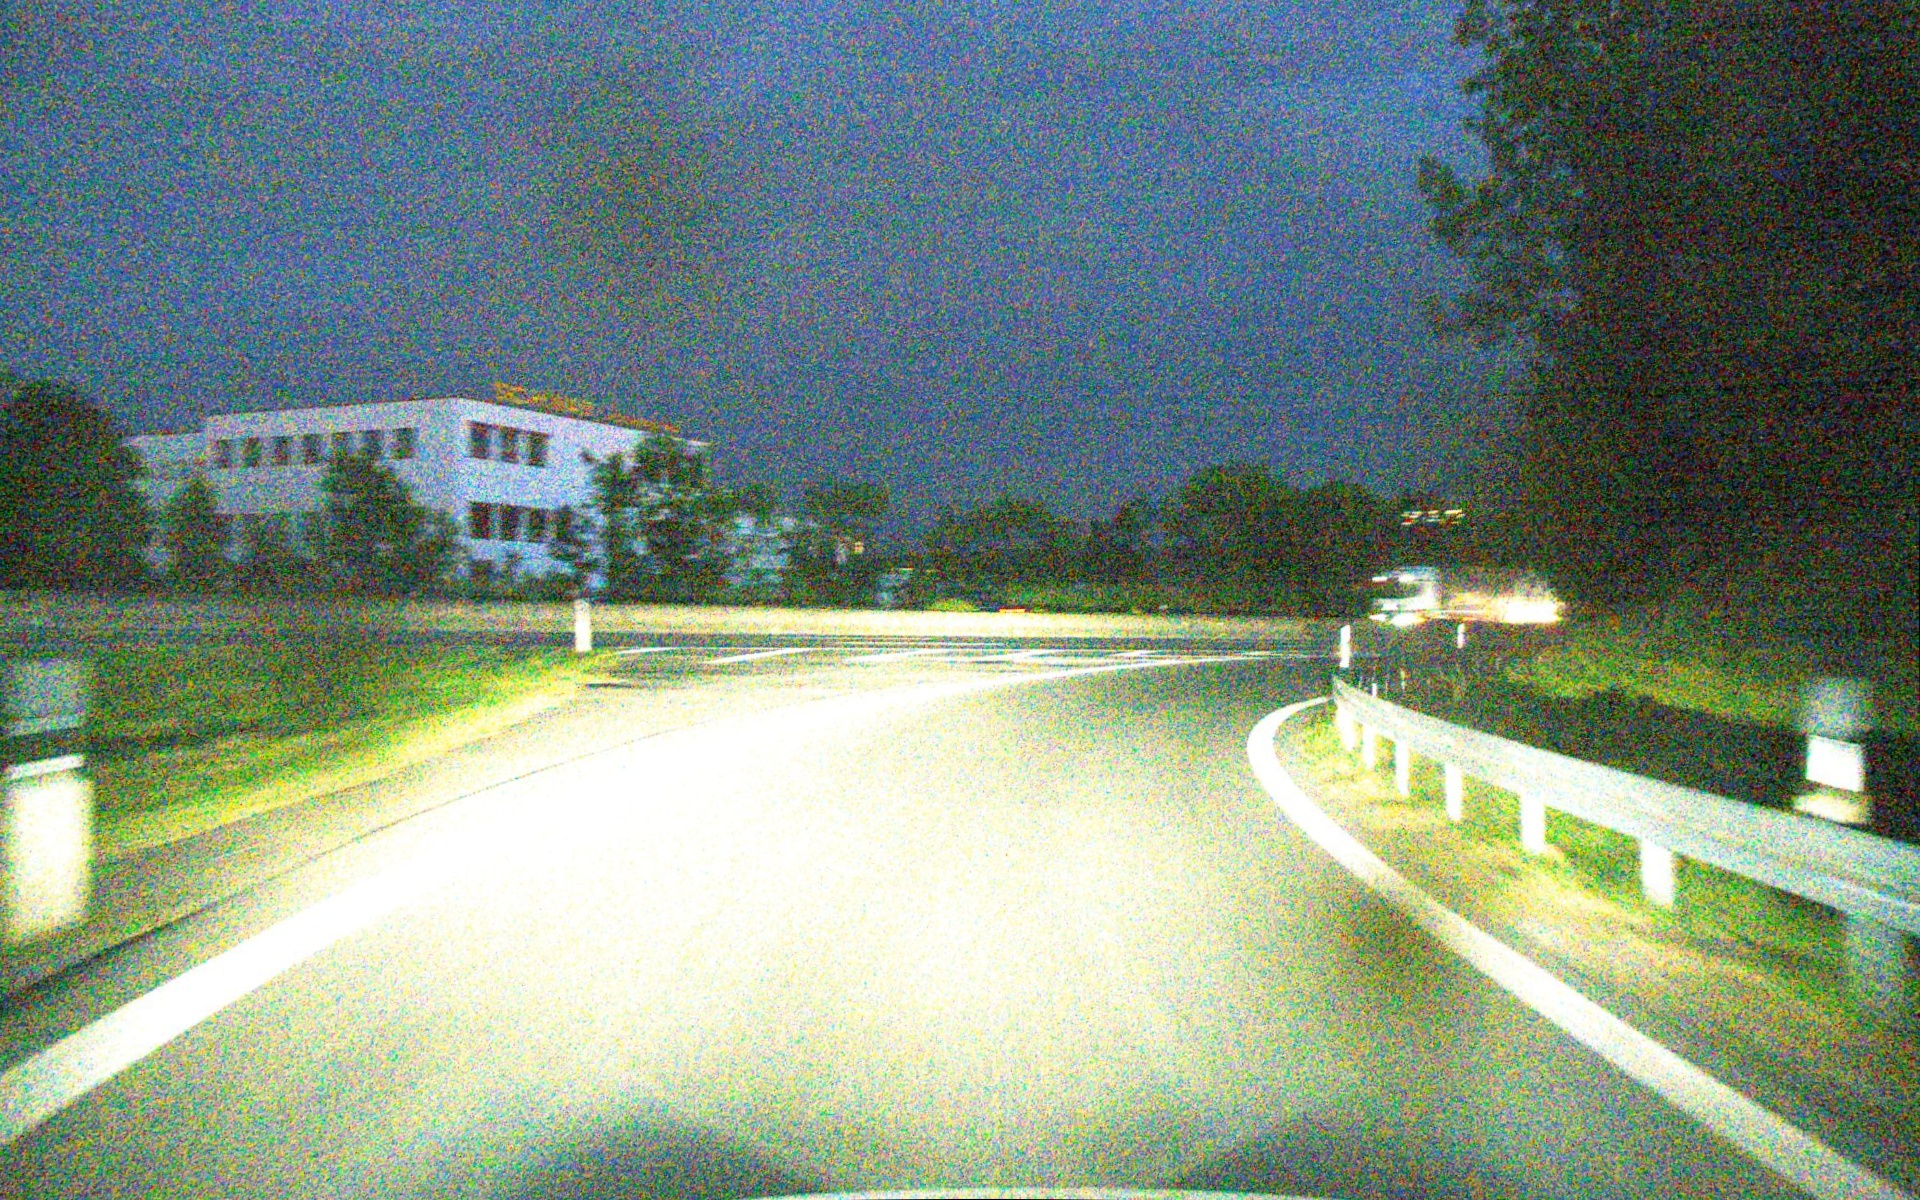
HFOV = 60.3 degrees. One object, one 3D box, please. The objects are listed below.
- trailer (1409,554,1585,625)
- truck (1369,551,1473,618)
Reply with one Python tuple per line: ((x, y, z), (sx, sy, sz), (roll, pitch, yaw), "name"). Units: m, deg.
((32.310, -0.568, 99.046), (13.611, 3.882, 2.732), (2, 0, -37), "trailer")
((26.430, -0.870, 94.724), (5.901, 3.658, 2.731), (2, 0, -38), "truck")
